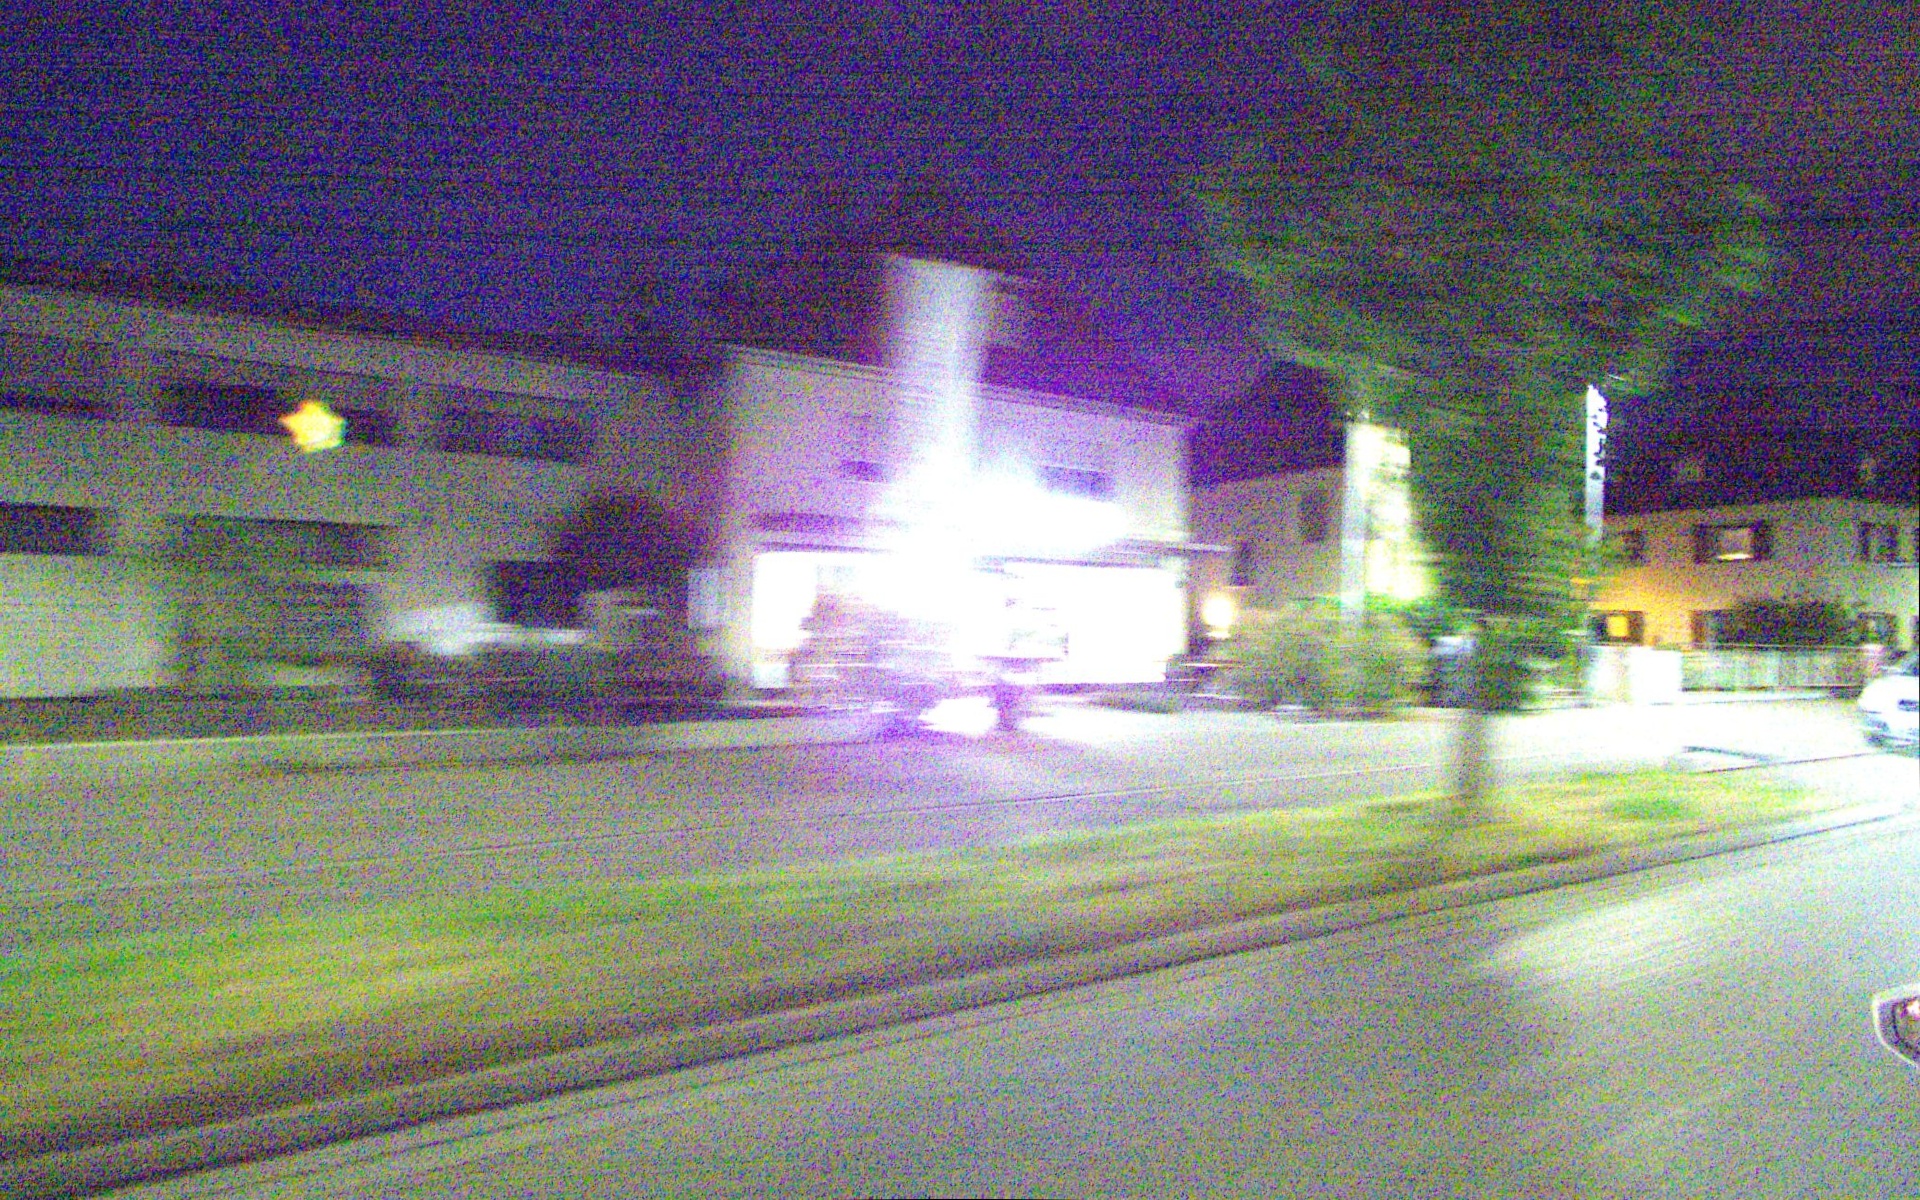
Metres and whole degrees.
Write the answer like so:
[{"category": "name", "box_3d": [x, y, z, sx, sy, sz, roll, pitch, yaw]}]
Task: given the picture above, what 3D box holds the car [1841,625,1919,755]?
[{"category": "car", "box_3d": [13.779, 1.179, 13.588, 3.941, 1.612, 1.664, 1, 0, -31]}]
